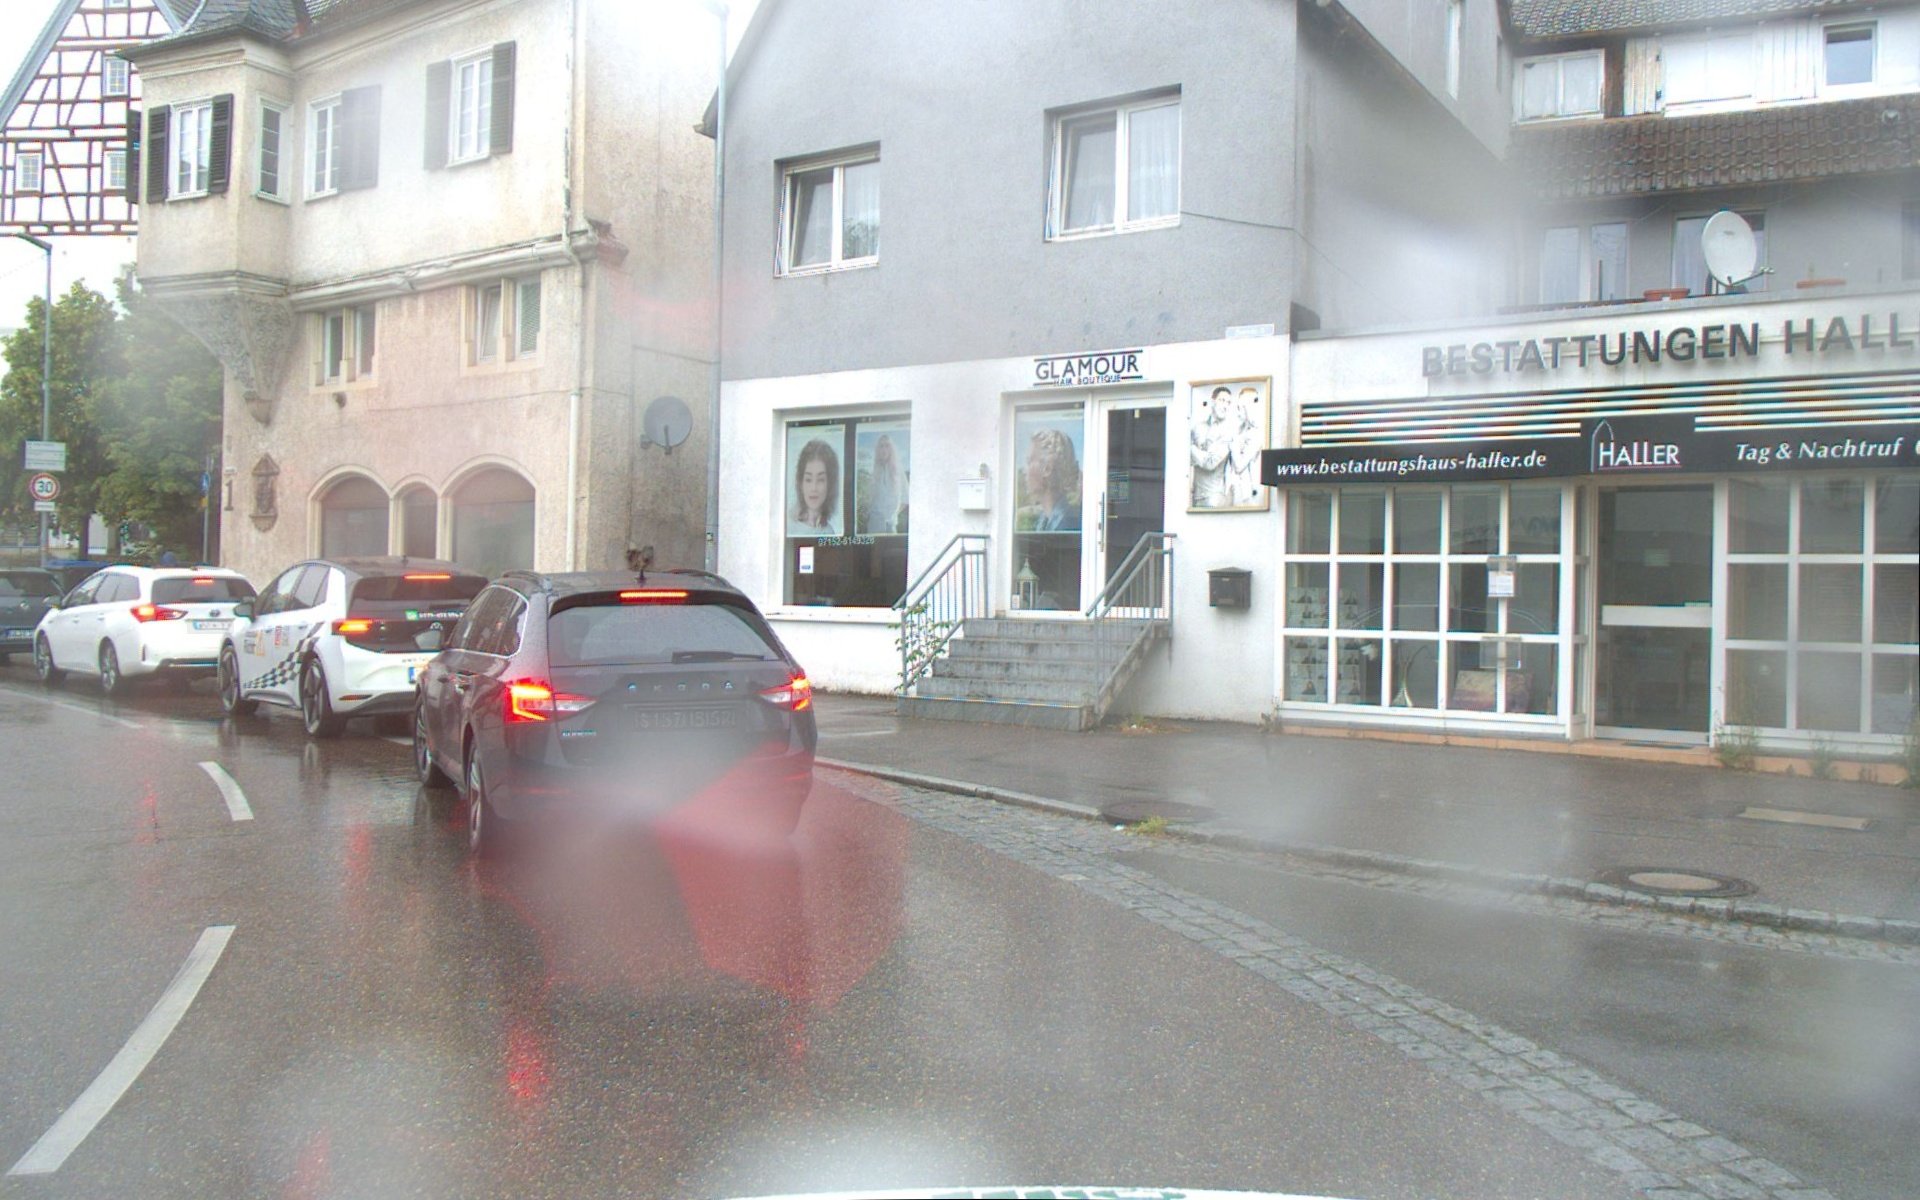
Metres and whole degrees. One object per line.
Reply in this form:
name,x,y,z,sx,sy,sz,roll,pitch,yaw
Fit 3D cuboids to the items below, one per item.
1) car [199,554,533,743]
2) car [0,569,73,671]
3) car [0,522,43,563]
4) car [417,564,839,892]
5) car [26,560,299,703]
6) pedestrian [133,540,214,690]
car,-5.769,0.356,15.764,1.777,1.543,4.183,-1,1,-38
car,-14.899,0.260,24.974,3.701,1.385,1.514,2,3,42
car,-37.926,-2.286,63.956,1.655,1.413,4.085,8,3,21
car,-2.205,0.548,9.963,1.709,1.475,4.212,0,2,-23
car,-9.747,0.291,20.074,1.778,1.490,4.096,-1,3,-45
pedestrian,-12.742,0.227,26.781,0.861,2.367,1.211,0,0,-43
